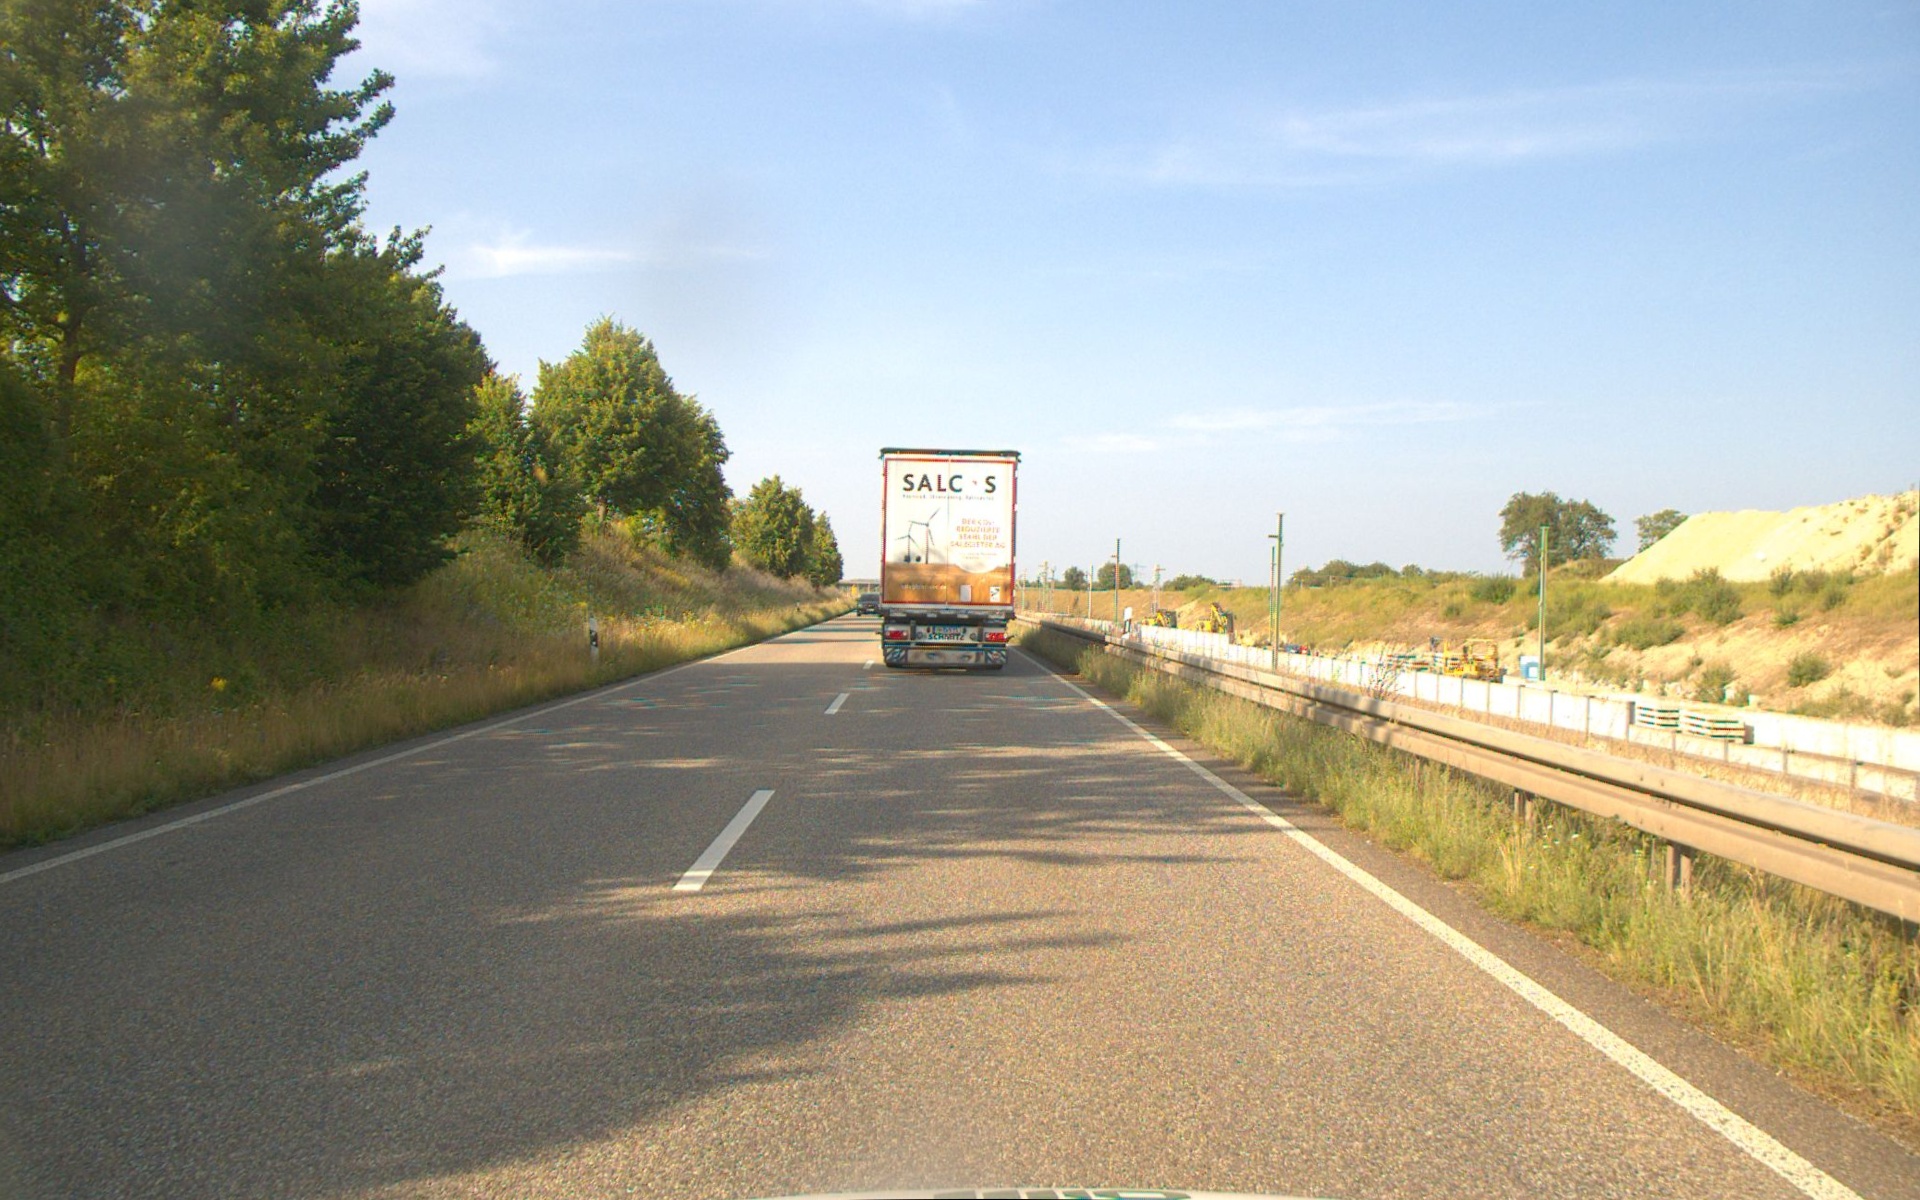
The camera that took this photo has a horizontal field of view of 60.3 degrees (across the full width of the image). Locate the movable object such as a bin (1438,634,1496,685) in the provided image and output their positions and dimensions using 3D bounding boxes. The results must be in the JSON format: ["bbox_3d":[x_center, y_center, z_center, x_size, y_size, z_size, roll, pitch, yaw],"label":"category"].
[{"bbox_3d":[28.151,3.267,91.743,2.845,2.708,2.019,1,0,24],"label":"movable object such as a bin"}]

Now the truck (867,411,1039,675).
[{"bbox_3d":[-0.209,-1.057,34.275,3.089,4.770,8.439,0,0,-1],"label":"truck"}]

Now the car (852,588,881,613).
[{"bbox_3d":[-6.099,0.033,108.272,1.708,1.574,4.311,0,0,-1],"label":"car"}]

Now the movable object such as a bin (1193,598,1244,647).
[{"bbox_3d":[21.713,1.831,139.170,2.740,3.954,7.534,1,0,-2],"label":"movable object such as a bin"}]
